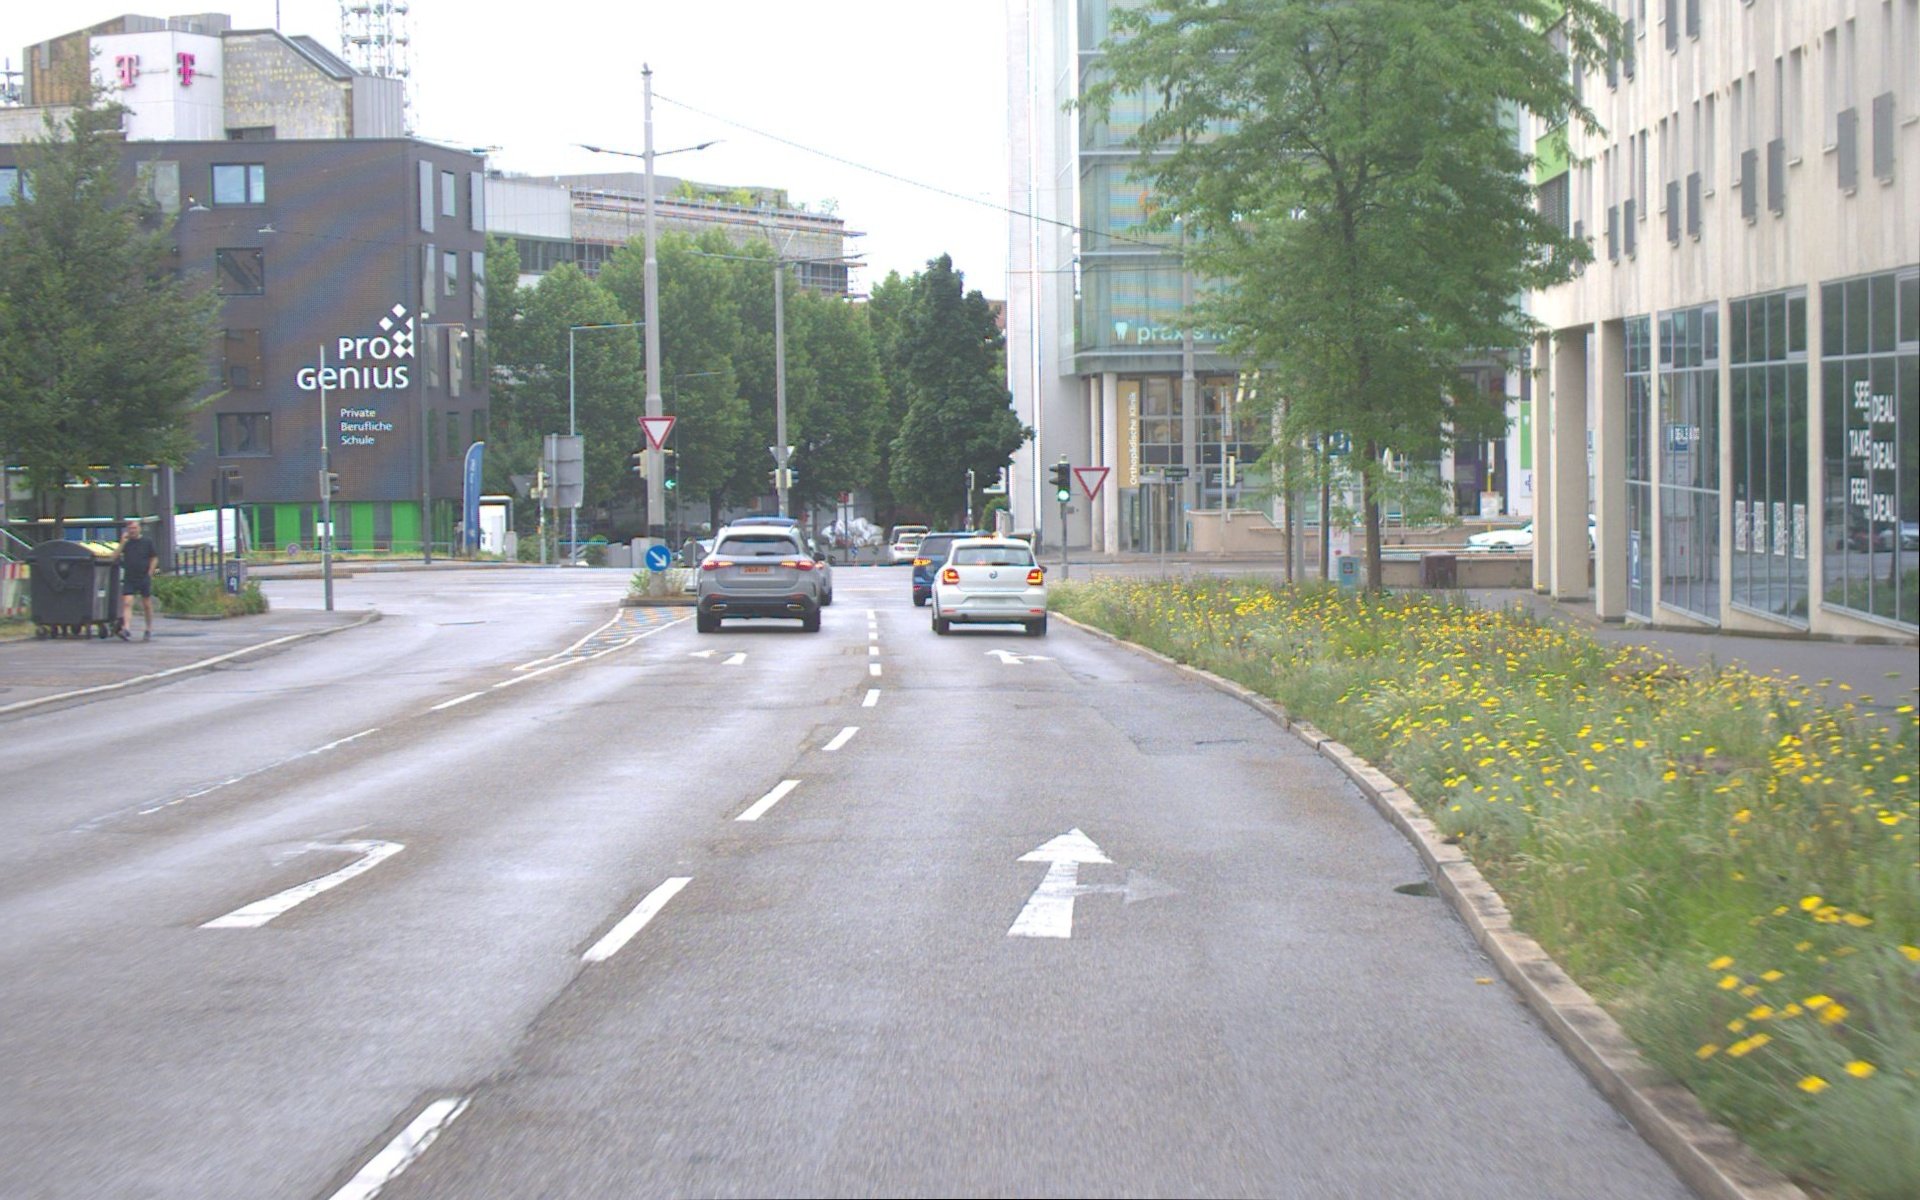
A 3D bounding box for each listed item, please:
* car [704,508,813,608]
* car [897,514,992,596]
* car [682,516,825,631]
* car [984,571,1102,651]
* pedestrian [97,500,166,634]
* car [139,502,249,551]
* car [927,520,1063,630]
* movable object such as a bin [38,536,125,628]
[{"bbox_3d":[-3.824,-0.787,64.805,1.993,1.812,4.001,0,1,-4],"label":"car"},{"bbox_3d":[-0.371,-1.023,76.342,1.993,1.744,3.673,0,2,-2],"label":"car"},{"bbox_3d":[-3.185,-0.419,53.697,2.141,1.722,4.000,0,1,-2],"label":"car"},{"bbox_3d":[1.591,0.194,67.352,1.993,1.503,4.001,0,1,-3],"label":"car"},{"bbox_3d":[-12.095,-0.481,50.181,0.959,1.948,0.779,0,0,-14],"label":"pedestrian"},{"bbox_3d":[-31.670,-3.041,142.232,3.989,2.007,1.999,0,1,11],"label":"car"},{"bbox_3d":[0.572,-0.413,52.391,1.993,1.571,3.996,0,2,2],"label":"car"},{"bbox_3d":[-12.911,-0.268,50.537,1.205,1.316,0.875,-1,1,-13],"label":"movable object such as a bin"}]
